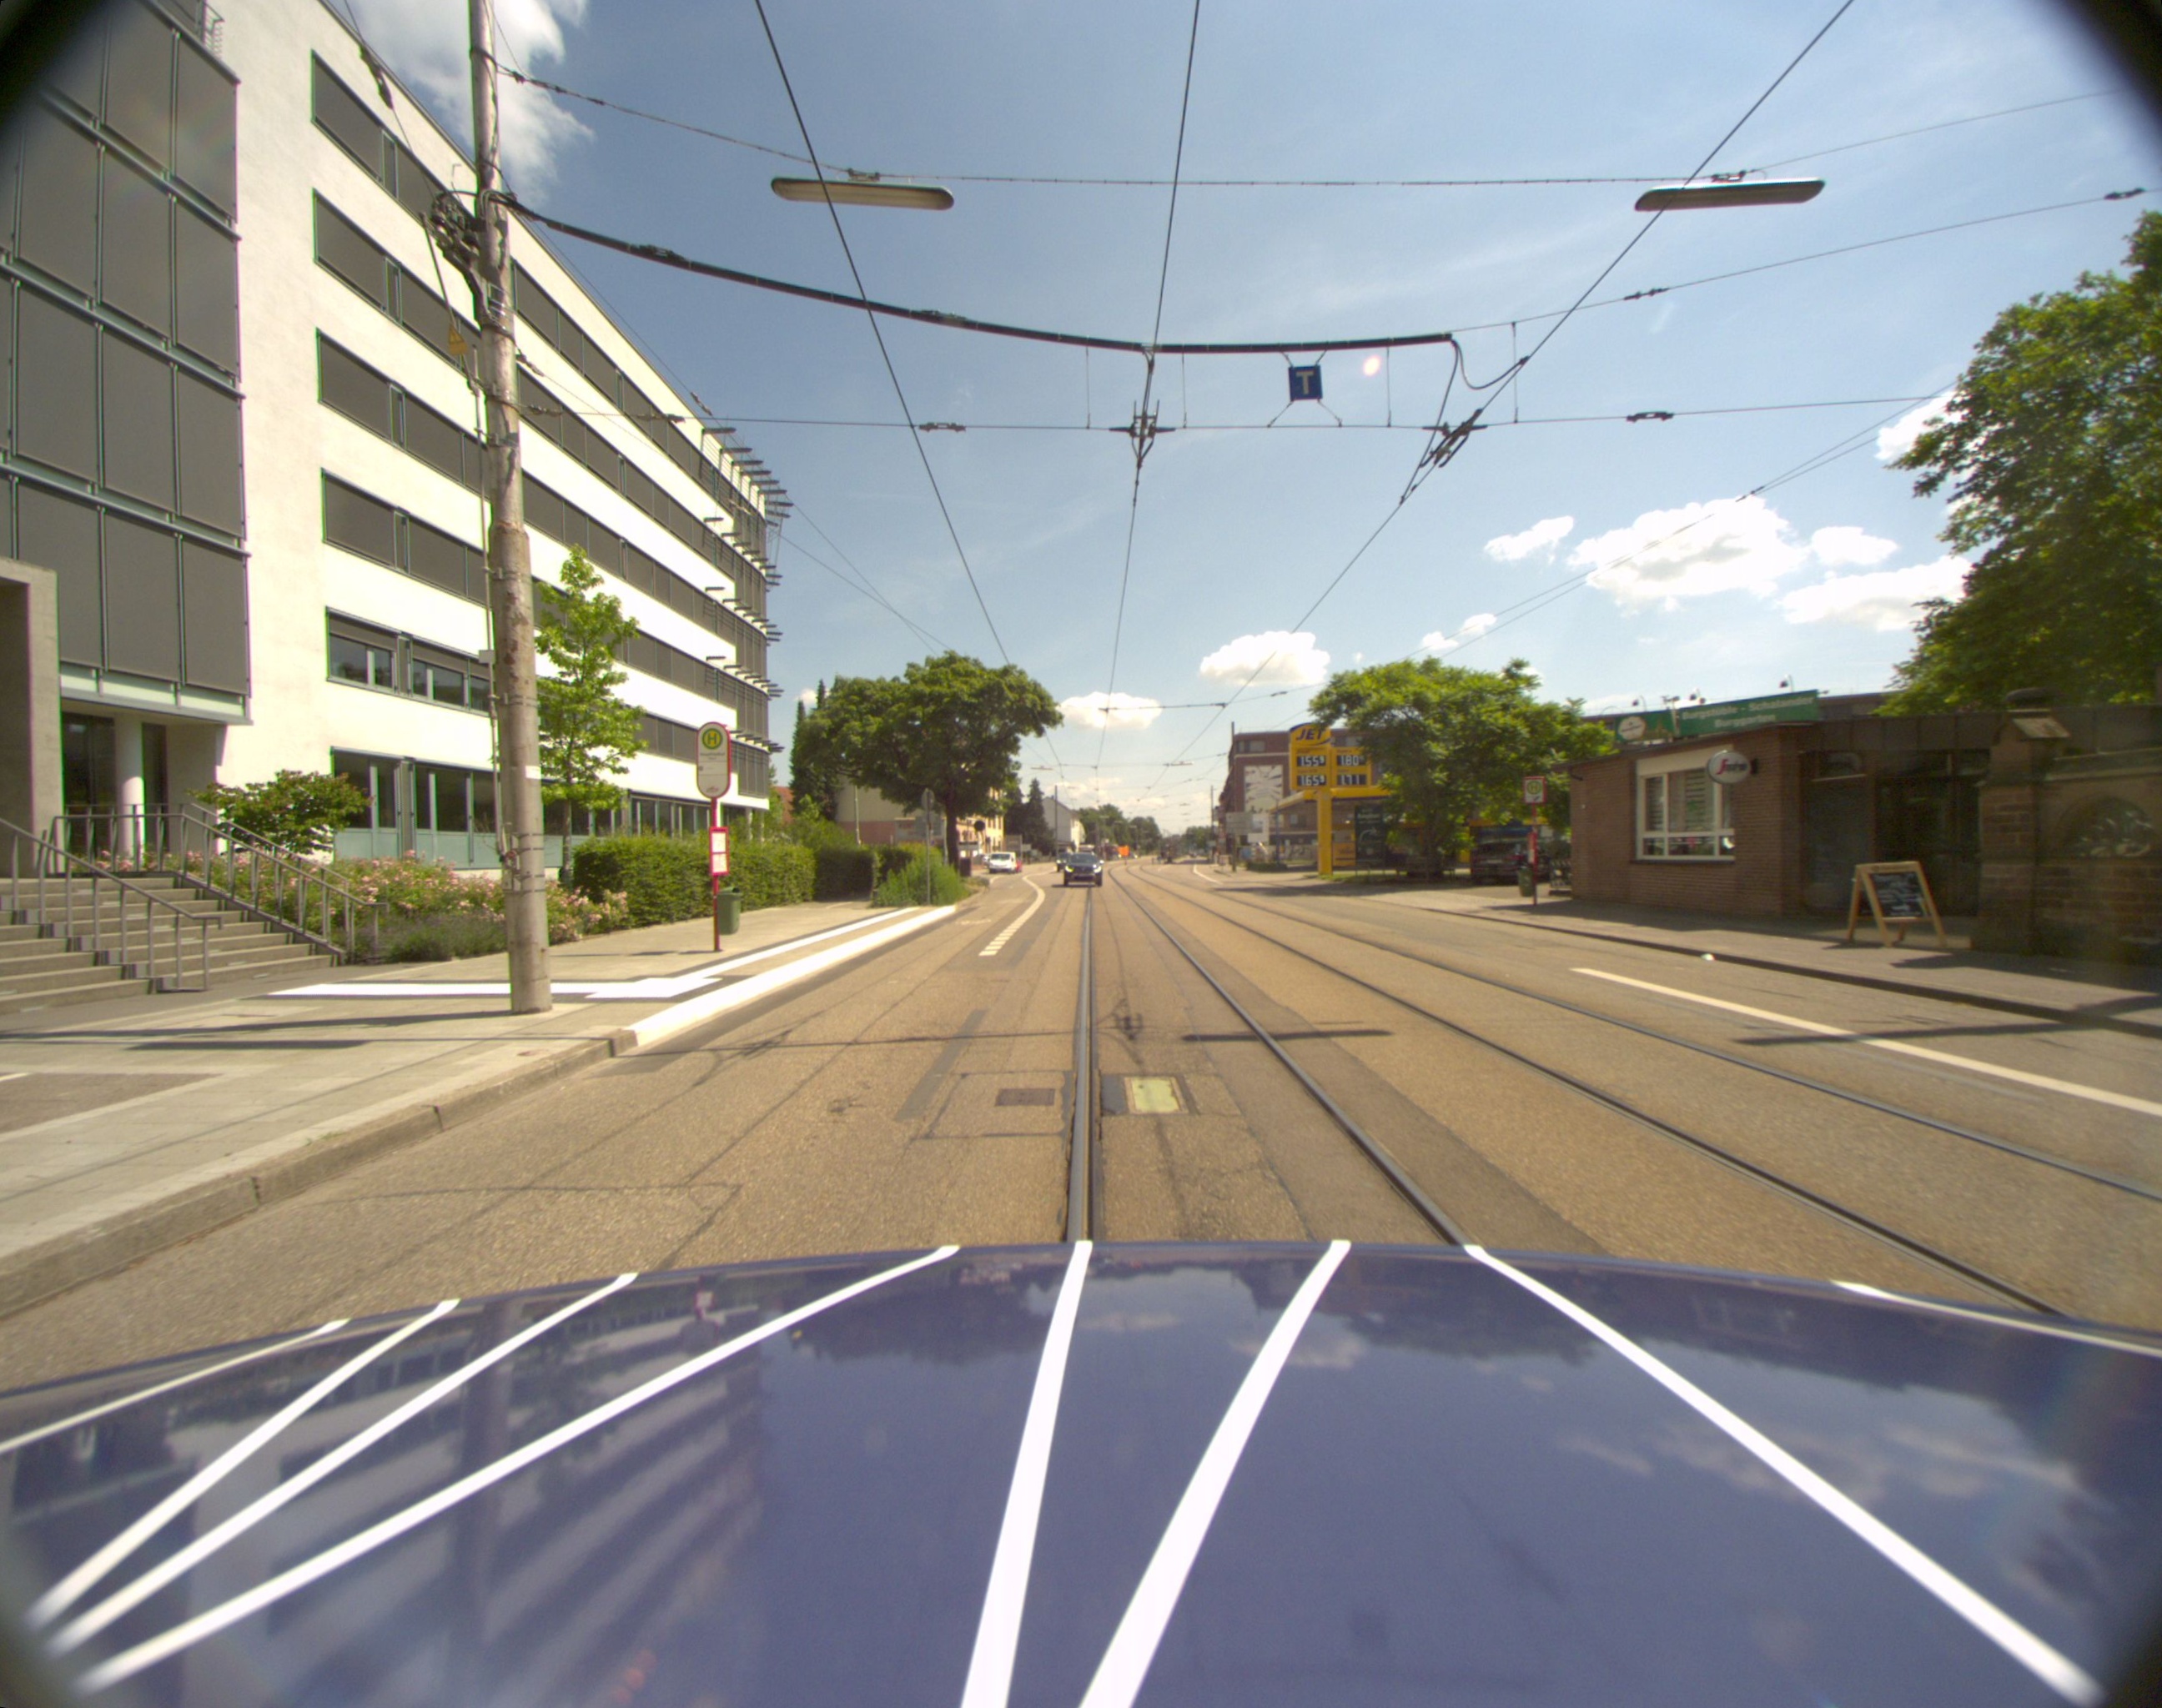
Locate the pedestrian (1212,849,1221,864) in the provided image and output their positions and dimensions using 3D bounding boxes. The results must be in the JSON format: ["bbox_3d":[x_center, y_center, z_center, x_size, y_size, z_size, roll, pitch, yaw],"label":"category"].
[{"bbox_3d":[15.097,0.242,84.572,0.762,1.586,1.000,-4,0,4],"label":"pedestrian"}]

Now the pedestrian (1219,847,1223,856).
[{"bbox_3d":[25.302,-0.507,137.380,0.686,1.587,0.761,0,1,7],"label":"pedestrian"}]

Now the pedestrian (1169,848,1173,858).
[{"bbox_3d":[15.665,-0.125,132.198,0.761,1.685,0.809,0,1,7],"label":"pedestrian"}]

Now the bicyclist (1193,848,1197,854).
[{"bbox_3d":[30.377,-0.858,202.748,0.760,1.495,1.065,-1,1,3],"label":"bicyclist"}]

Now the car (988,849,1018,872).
[{"bbox_3d":[-6.805,0.546,67.050,1.998,1.980,5.514,1,0,1],"label":"car"}]

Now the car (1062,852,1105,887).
[{"bbox_3d":[0.175,0.687,36.541,1.845,1.565,4.488,-1,0,3],"label":"car"}]

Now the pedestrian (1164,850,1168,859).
[{"bbox_3d":[14.163,0.055,126.365,0.686,1.587,0.761,0,1,7],"label":"pedestrian"}]

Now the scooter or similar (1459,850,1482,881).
[{"bbox_3d":[15.305,0.453,29.833,0.405,1.167,1.363,-1,1,44],"label":"scooter or similar"}]

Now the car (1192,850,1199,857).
[{"bbox_3d":[34.222,-0.077,227.239,2.020,2.002,4.002,-3,0,8],"label":"car"}]

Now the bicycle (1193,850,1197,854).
[{"bbox_3d":[30.312,-0.486,202.647,0.818,1.215,2.390,0,0,4],"label":"bicycle"}]

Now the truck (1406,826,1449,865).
[{"bbox_3d":[23.373,-0.579,51.189,1.995,2.483,5.213,-1,1,31],"label":"truck"}]

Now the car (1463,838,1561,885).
[{"bbox_3d":[15.819,0.219,27.797,4.342,1.581,1.994,-1,1,-45],"label":"car"}]

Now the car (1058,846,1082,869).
[{"bbox_3d":[-0.966,0.316,70.070,1.998,2.002,4.000,-1,0,2],"label":"car"}]

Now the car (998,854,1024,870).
[{"bbox_3d":[-6.683,0.781,73.127,1.998,1.433,4.017,-2,0,2],"label":"car"}]

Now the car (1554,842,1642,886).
[{"bbox_3d":[18.114,0.303,26.534,1.905,1.386,4.342,-1,0,42],"label":"car"}]

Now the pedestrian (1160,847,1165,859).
[{"bbox_3d":[12.482,-0.125,116.167,0.686,1.750,1.034,0,1,8],"label":"pedestrian"}]
